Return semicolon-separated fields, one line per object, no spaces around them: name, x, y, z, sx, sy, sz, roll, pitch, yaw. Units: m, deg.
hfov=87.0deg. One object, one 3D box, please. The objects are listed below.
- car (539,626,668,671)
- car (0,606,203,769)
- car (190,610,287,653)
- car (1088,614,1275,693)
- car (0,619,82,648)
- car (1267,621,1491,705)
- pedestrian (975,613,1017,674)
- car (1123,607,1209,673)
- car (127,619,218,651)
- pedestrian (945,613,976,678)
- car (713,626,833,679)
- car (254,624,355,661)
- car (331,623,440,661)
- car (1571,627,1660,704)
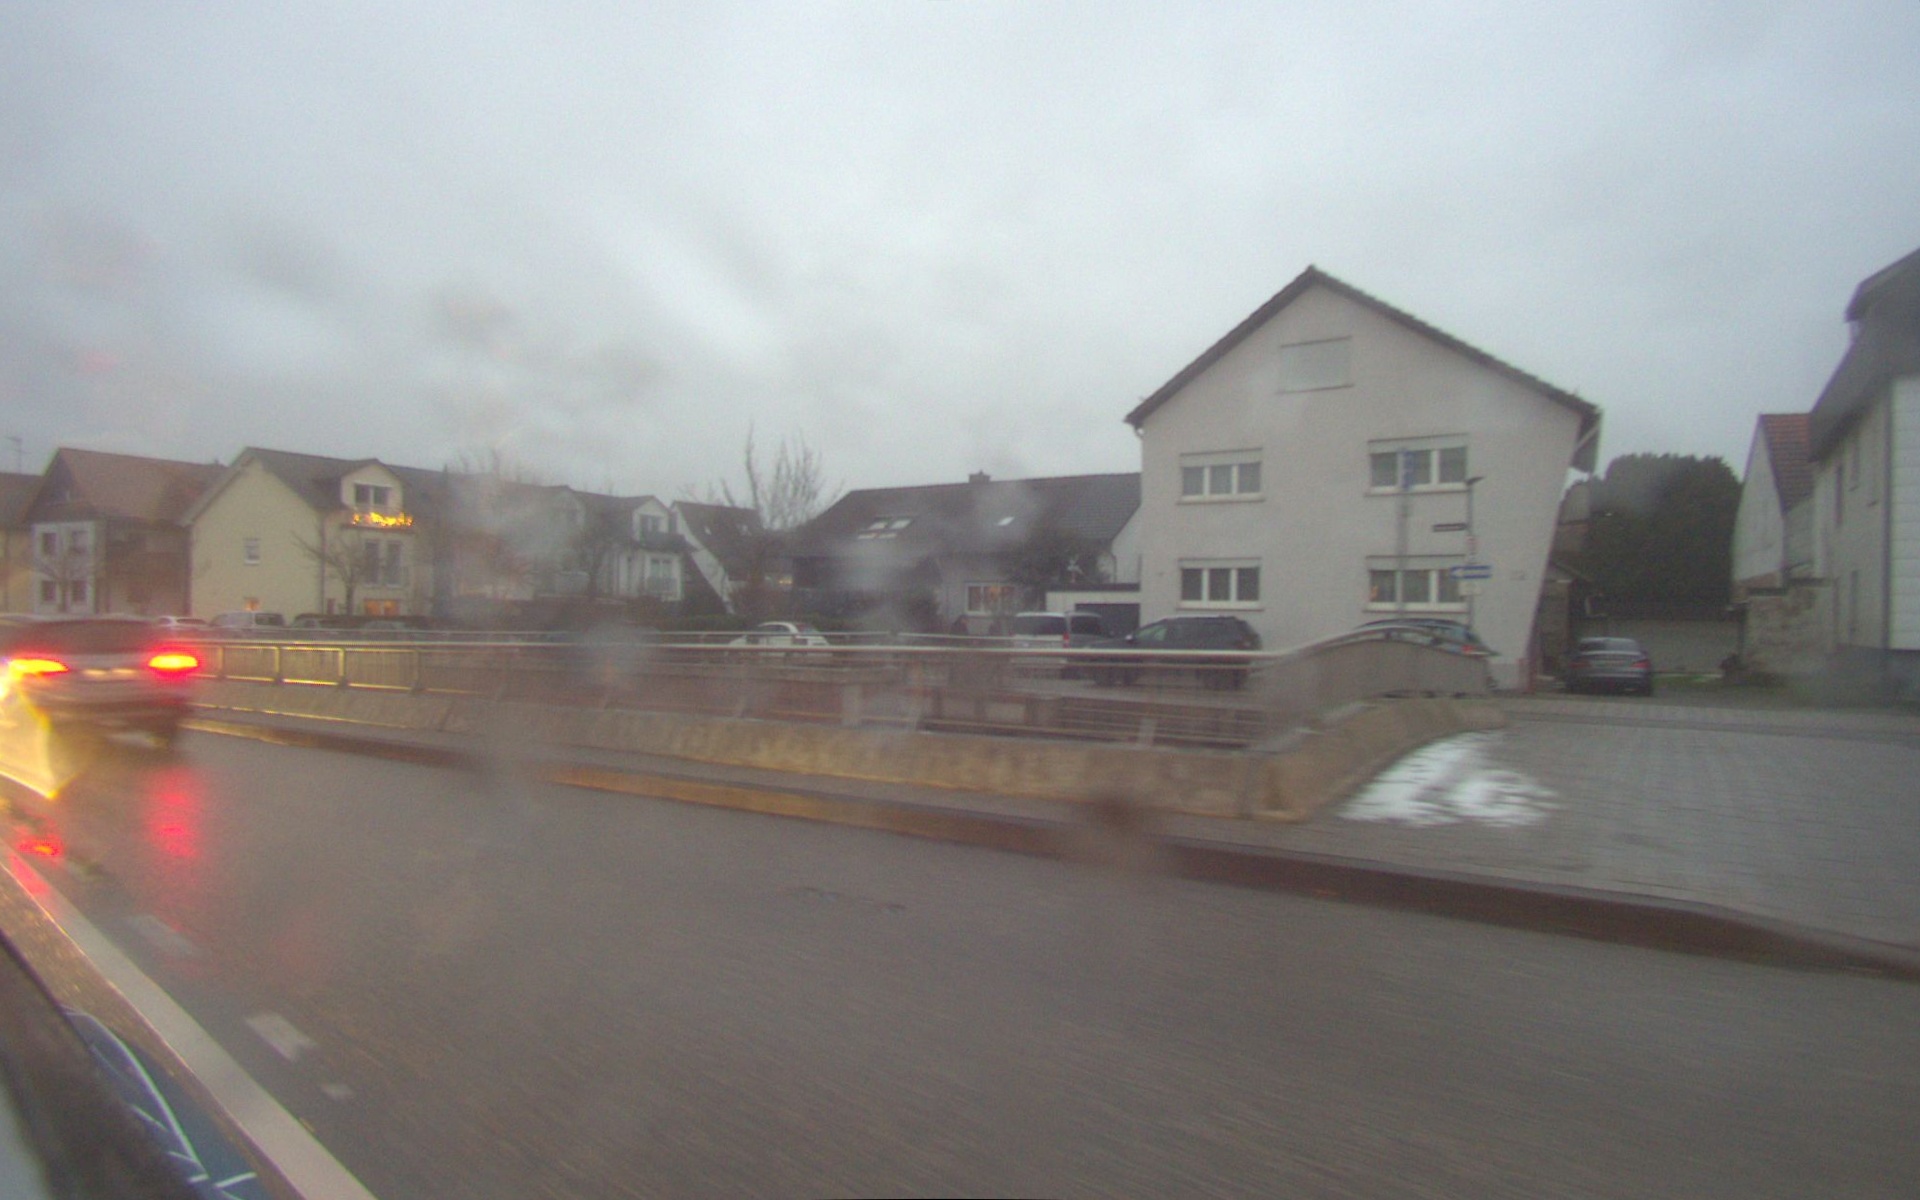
car;-12.325;1.628;34.973;4.236;1.480;1.784;-1;-2;27
car;-10.824;0.937;12.006;3.947;1.634;1.763;-2;-2;34
car;-32.560;1.412;45.665;4.235;1.841;1.784;-1;-2;27
car;5.135;1.186;23.635;3.945;1.673;1.686;-1;-1;31
car;-48.502;1.757;53.152;4.586;1.480;1.786;0;-2;23
car;8.755;1.237;21.247;4.083;1.581;1.760;-1;-1;34
pedestrian;0.760;0.909;21.325;0.601;1.259;0.684;-1;-2;36
car;6.588;1.329;32.124;1.467;1.952;3.664;-2;-5;32
car;-37.508;1.689;48.192;3.991;1.480;1.663;-1;-4;23
pedestrian;0.013;0.922;20.605;0.595;1.312;0.510;-1;-1;3
car;-5.676;1.546;30.694;3.490;1.520;1.464;-1;-2;30
car;-28.105;1.791;43.385;4.236;1.480;1.784;-1;-2;27
car;-23.212;1.675;40.883;4.236;1.480;1.784;-1;-2;27
car;16.296;1.632;25.234;1.713;1.695;3.956;1;-3;32
